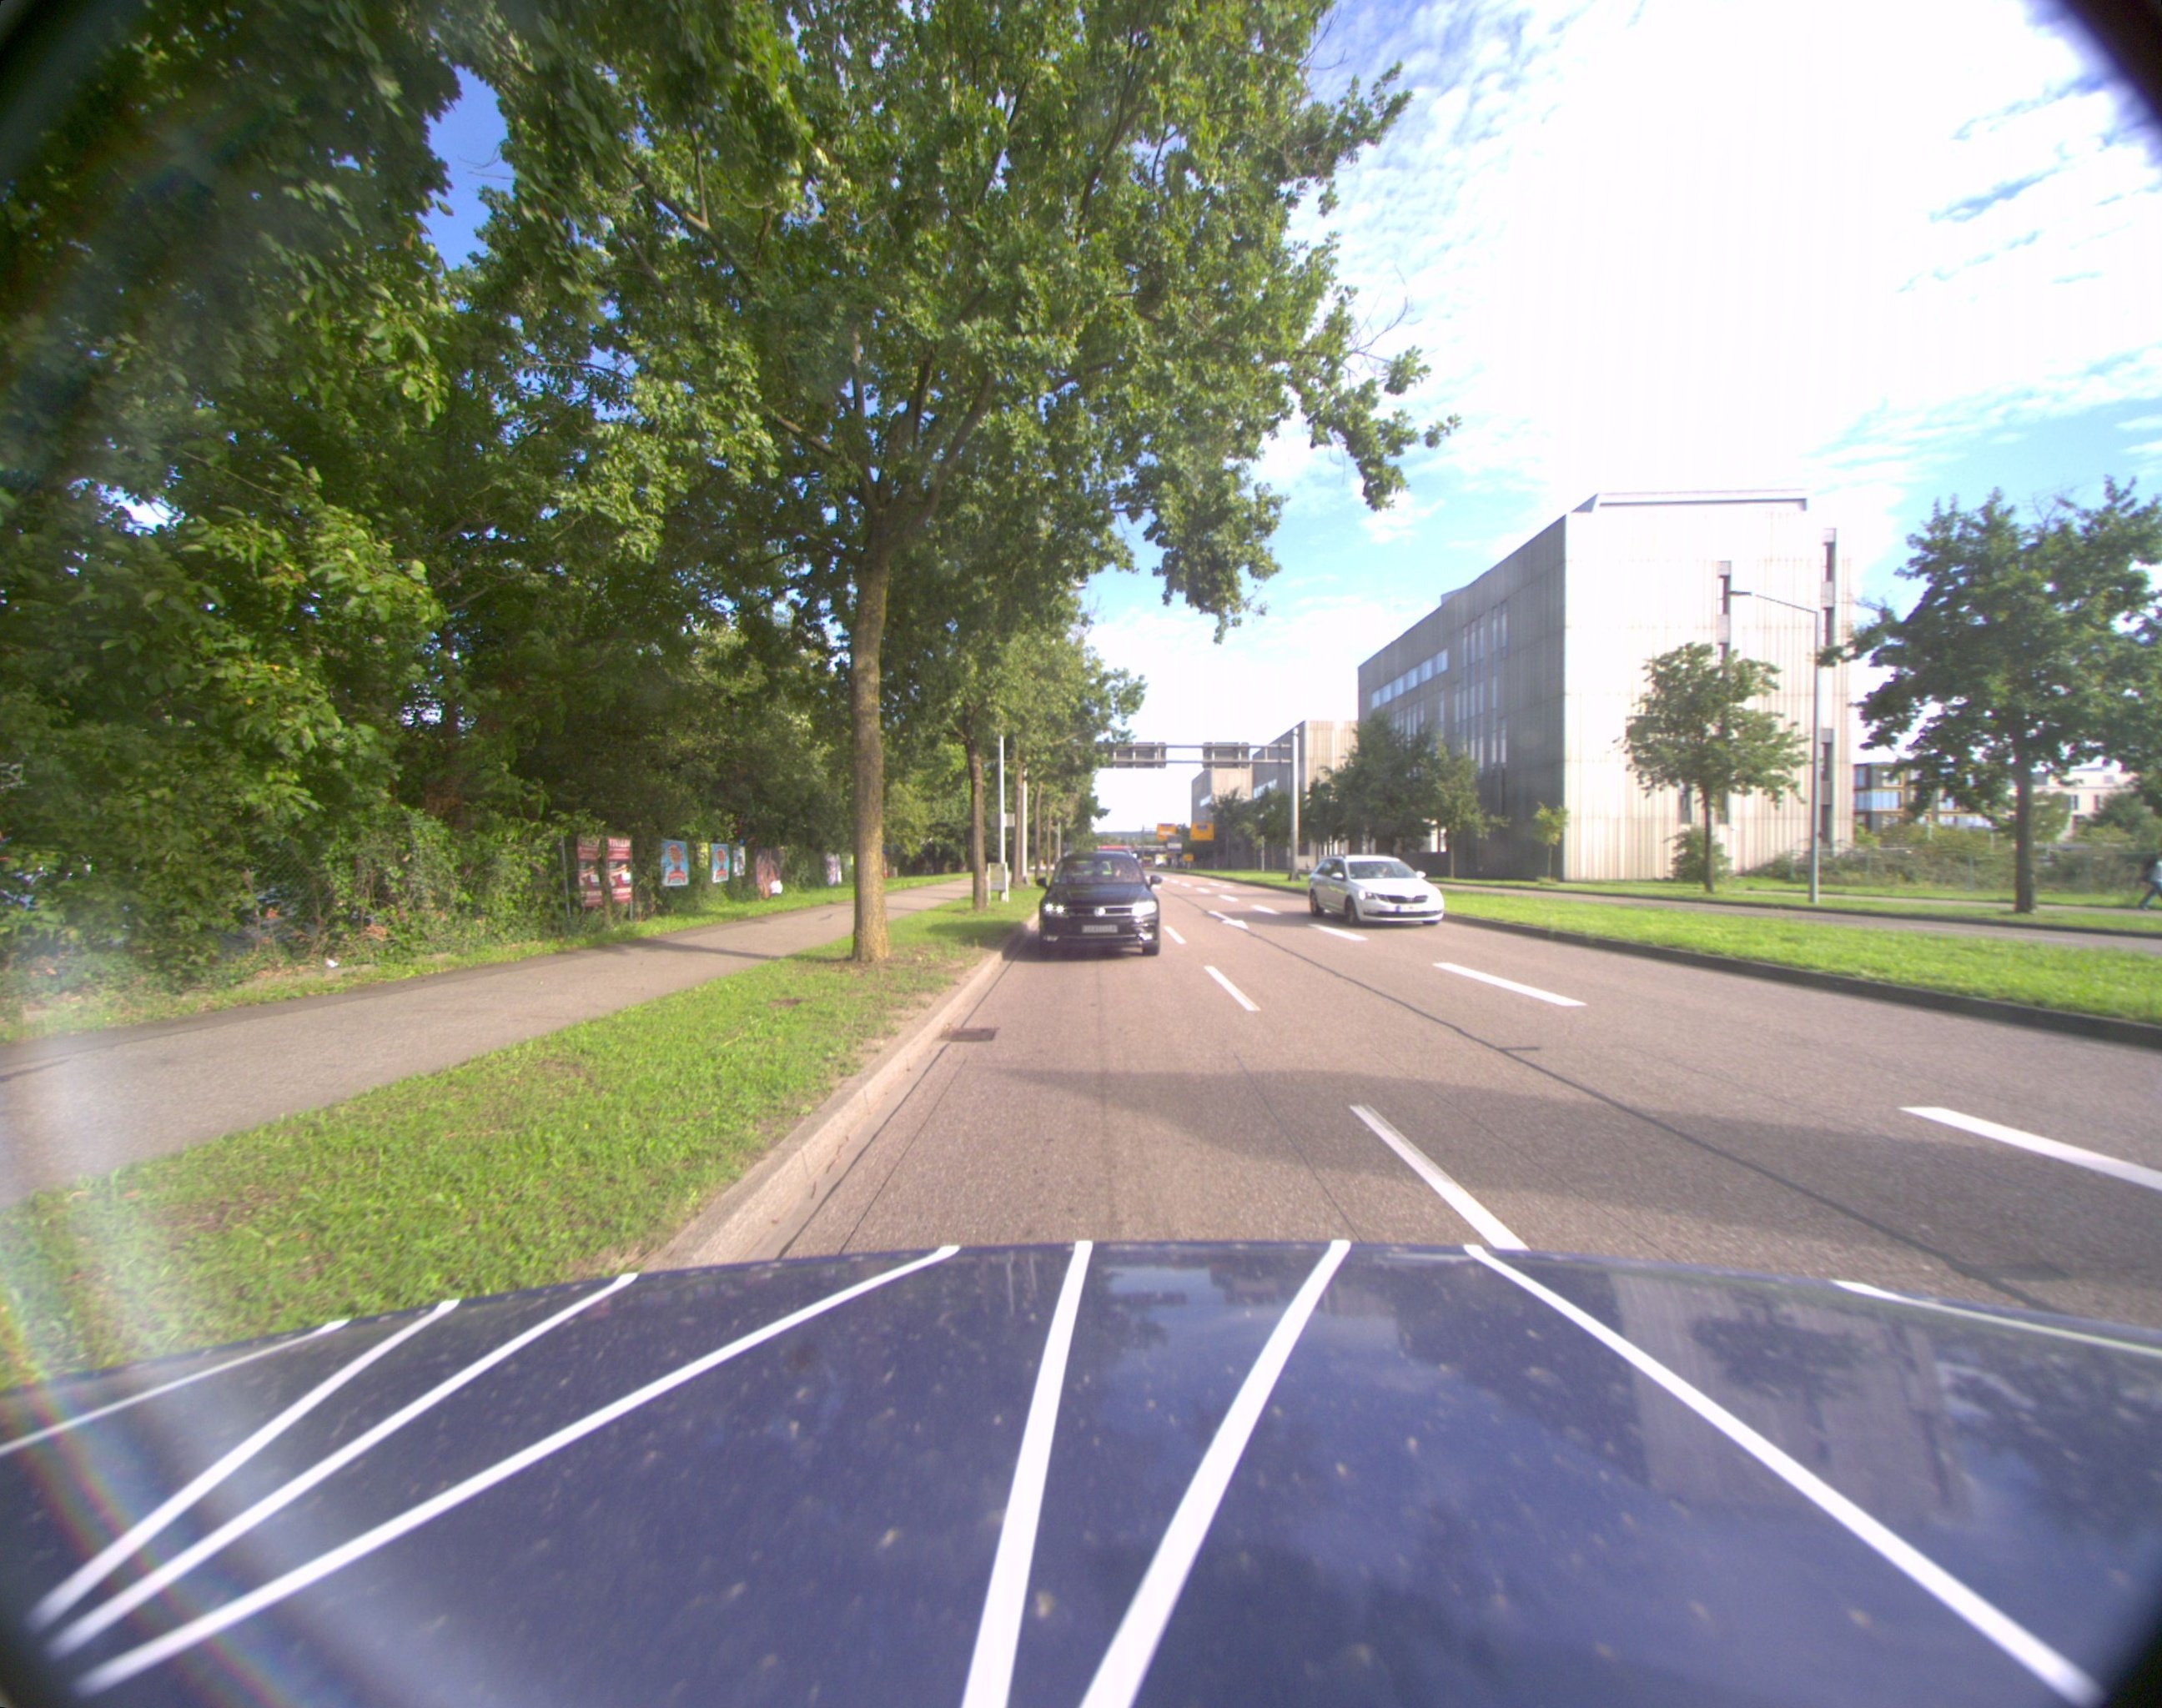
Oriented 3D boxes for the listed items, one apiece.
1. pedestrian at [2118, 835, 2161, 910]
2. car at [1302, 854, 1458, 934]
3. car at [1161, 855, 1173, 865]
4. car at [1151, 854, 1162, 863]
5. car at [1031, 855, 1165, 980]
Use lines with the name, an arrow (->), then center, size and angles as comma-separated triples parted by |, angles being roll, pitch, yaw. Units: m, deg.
pedestrian -> 29.305, 0.499, 20.792 | 0.676, 2.002, 0.867 | 0, 0, 0
car -> 6.360, 0.767, 16.737 | 1.702, 1.490, 4.481 | -1, 0, 1
car -> 17.429, 1.197, 154.268 | 1.998, 2.002, 4.000 | 0, 0, 0
car -> 16.901, 0.971, 170.178 | 1.998, 2.002, 3.983 | 0, 0, 0
car -> 0.289, 0.869, 12.249 | 1.775, 1.637, 3.869 | -2, 0, 2
